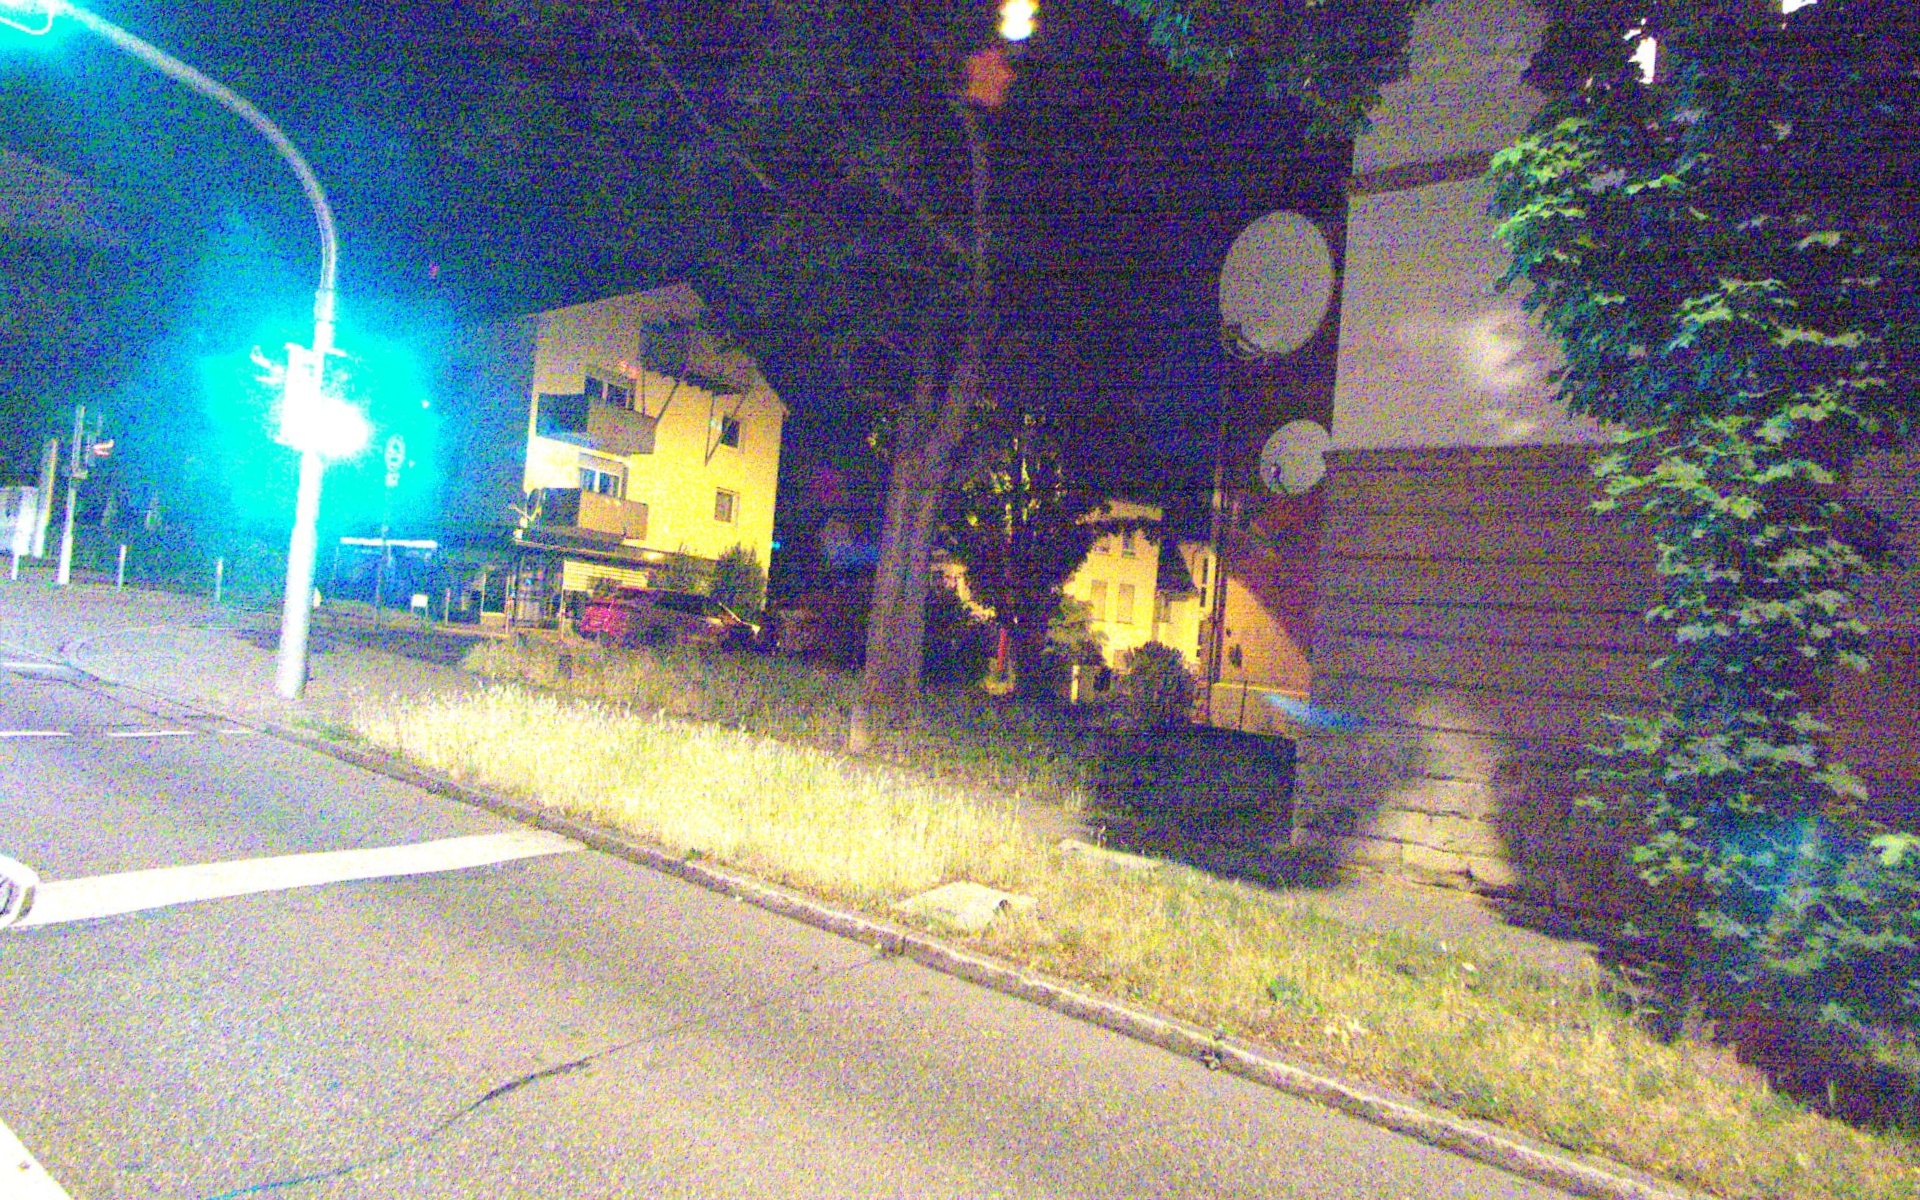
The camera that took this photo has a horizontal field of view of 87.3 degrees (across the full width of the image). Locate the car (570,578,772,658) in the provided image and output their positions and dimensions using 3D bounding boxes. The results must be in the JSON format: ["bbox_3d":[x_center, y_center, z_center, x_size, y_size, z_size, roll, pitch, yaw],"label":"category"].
[{"bbox_3d":[-6.545,0.452,23.171,1.740,1.295,4.131,6,-3,39],"label":"car"}]
